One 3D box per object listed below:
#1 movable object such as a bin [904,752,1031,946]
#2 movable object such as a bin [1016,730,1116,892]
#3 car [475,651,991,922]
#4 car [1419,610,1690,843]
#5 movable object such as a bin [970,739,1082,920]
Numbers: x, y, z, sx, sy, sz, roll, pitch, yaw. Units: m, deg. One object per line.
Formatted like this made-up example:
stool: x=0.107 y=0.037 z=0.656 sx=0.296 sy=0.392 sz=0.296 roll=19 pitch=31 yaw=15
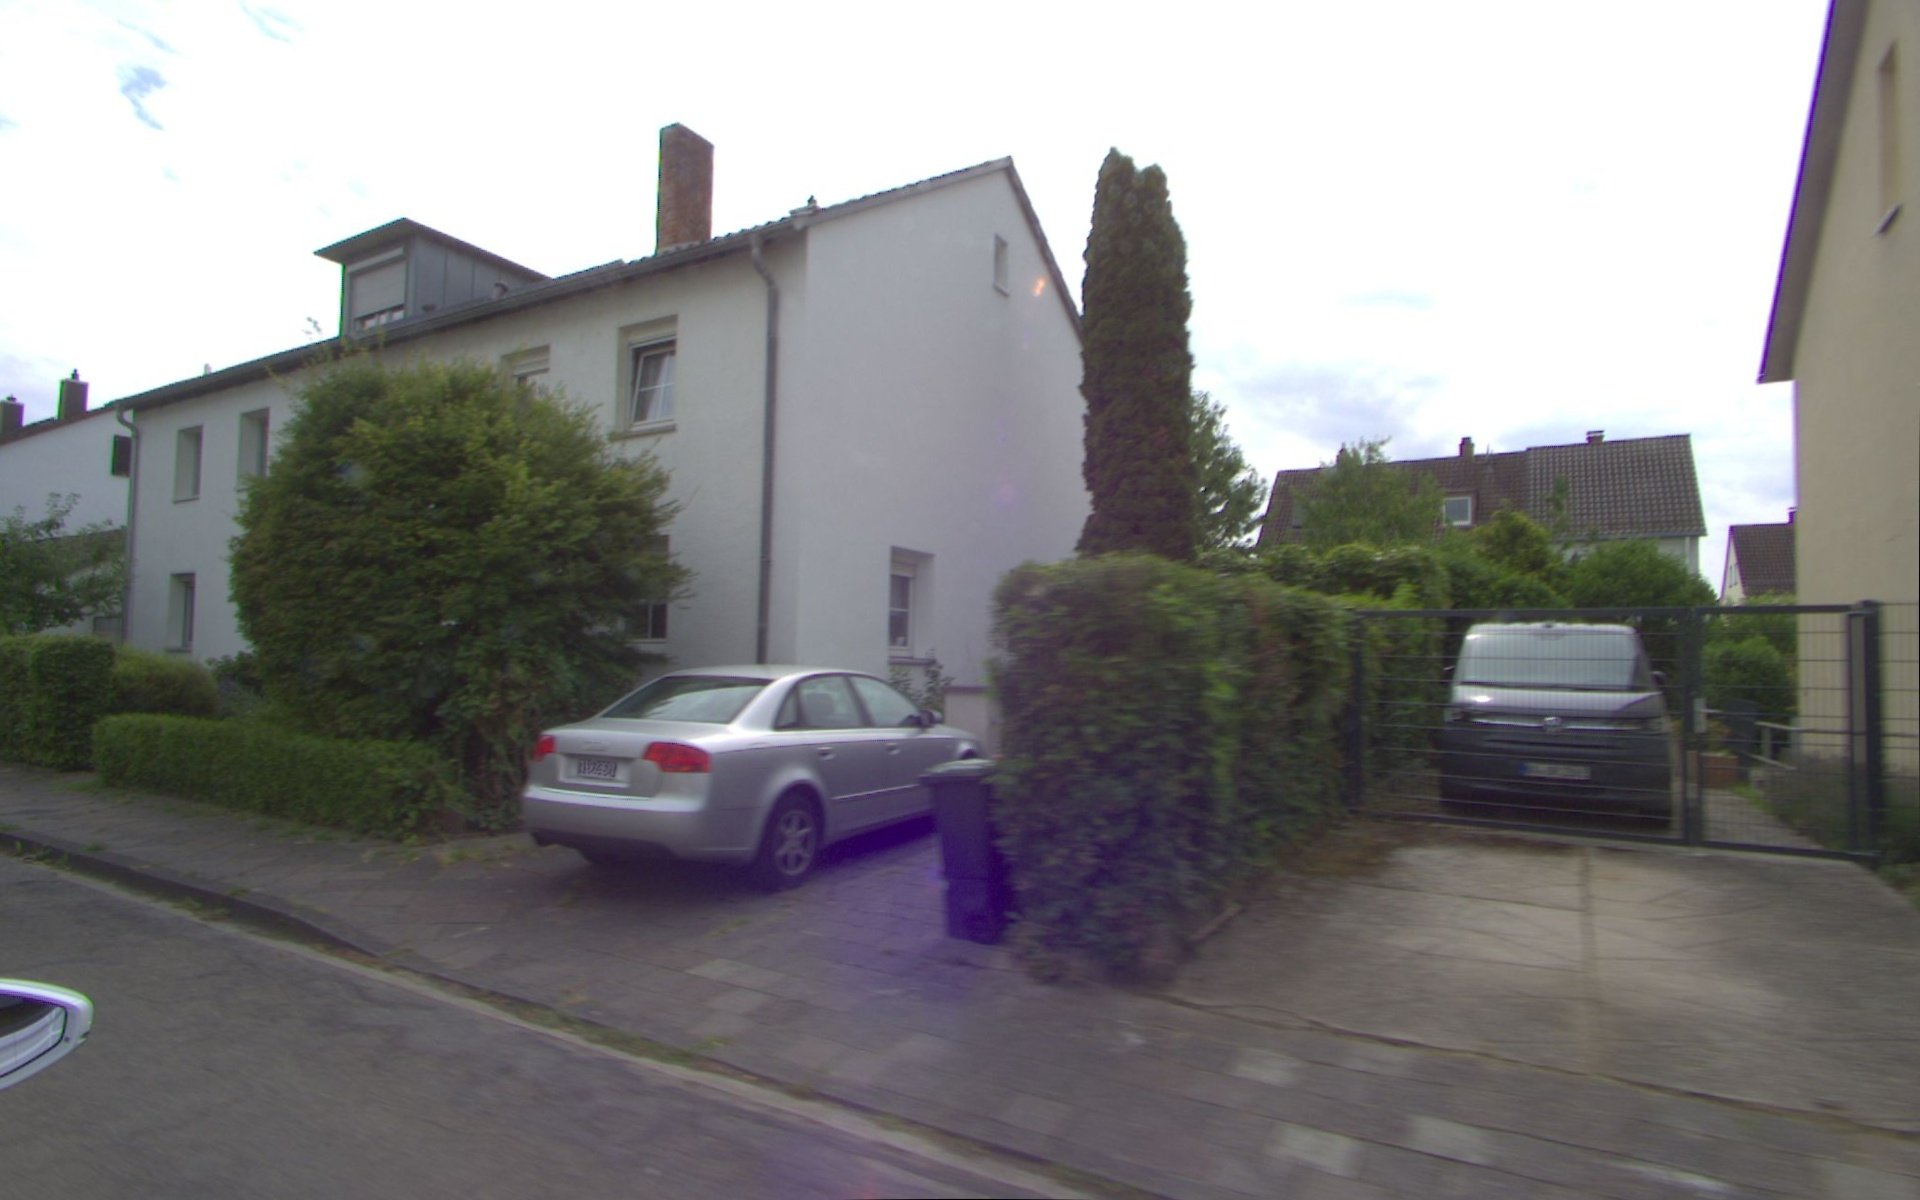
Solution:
movable object such as a bin: x=0.048 y=1.333 z=5.508 sx=0.493 sy=0.932 sz=0.509 roll=0 pitch=-4 yaw=30
movable object such as a bin: x=0.718 y=1.391 z=6.738 sx=0.493 sy=0.979 sz=0.509 roll=0 pitch=-4 yaw=30
car: x=-1.390 y=1.144 z=7.765 sx=1.823 sy=1.445 sz=4.022 roll=0 pitch=-2 yaw=25
car: x=6.044 y=1.172 z=10.250 sx=1.971 sy=1.850 sz=4.061 roll=-1 pitch=-4 yaw=32
movable object such as a bin: x=0.409 y=1.370 z=6.123 sx=0.493 sy=0.979 sz=0.509 roll=0 pitch=-4 yaw=30
